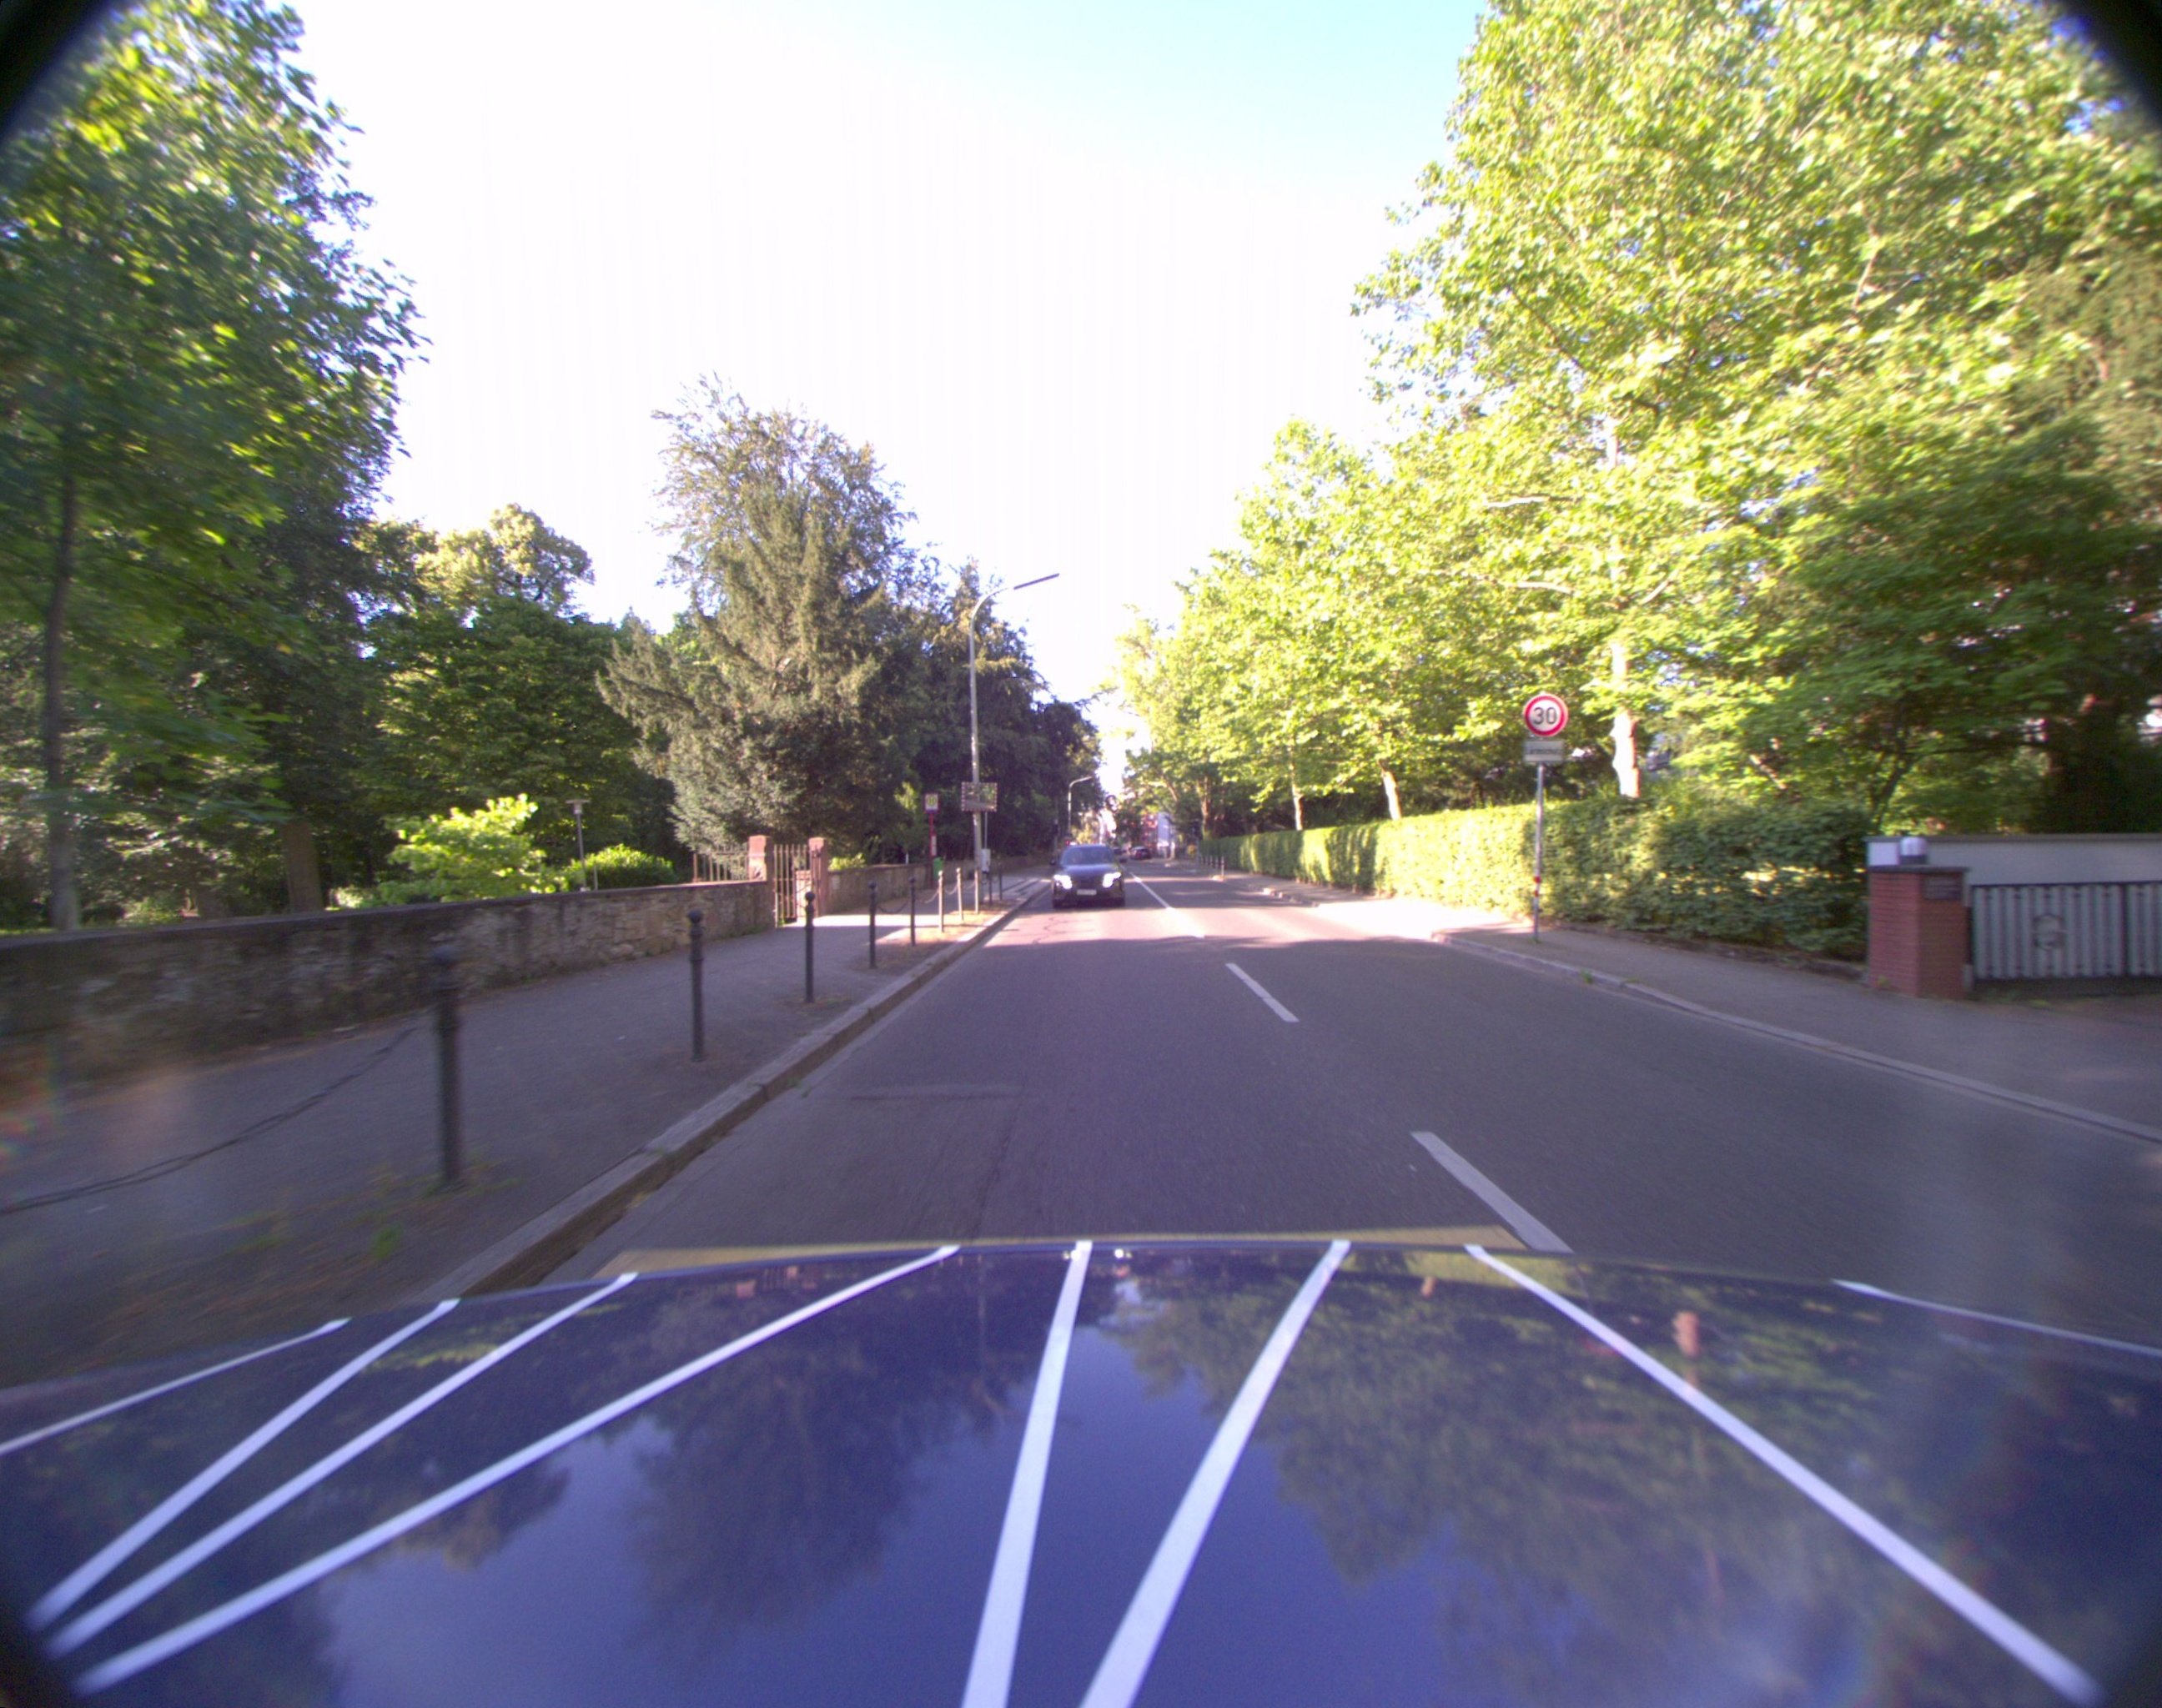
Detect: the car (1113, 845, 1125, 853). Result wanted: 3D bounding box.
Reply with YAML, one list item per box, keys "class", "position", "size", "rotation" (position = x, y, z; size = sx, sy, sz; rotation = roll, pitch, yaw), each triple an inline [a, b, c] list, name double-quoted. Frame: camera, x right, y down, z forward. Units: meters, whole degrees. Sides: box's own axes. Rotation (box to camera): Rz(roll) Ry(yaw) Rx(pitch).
- class: "car"
  position: [7.202, -0.973, 144.464]
  size: [1.824, 1.375, 3.933]
  rotation: [2, 1, -3]

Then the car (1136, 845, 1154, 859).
- class: "car"
  position: [7.396, -0.243, 87.574]
  size: [1.689, 1.426, 3.615]
  rotation: [-4, 1, 0]

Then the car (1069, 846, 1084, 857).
- class: "car"
  position: [-0.643, -0.376, 106.275]
  size: [1.824, 1.375, 3.933]
  rotation: [2, 1, -3]

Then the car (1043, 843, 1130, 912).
- class: "car"
  position: [0.270, 0.564, 20.886]
  size: [1.935, 1.676, 4.433]
  rotation: [-1, 0, 6]

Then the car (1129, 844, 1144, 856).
- class: "car"
  position: [7.123, -0.562, 97.829]
  size: [1.628, 1.426, 3.559]
  rotation: [-2, 1, -1]
